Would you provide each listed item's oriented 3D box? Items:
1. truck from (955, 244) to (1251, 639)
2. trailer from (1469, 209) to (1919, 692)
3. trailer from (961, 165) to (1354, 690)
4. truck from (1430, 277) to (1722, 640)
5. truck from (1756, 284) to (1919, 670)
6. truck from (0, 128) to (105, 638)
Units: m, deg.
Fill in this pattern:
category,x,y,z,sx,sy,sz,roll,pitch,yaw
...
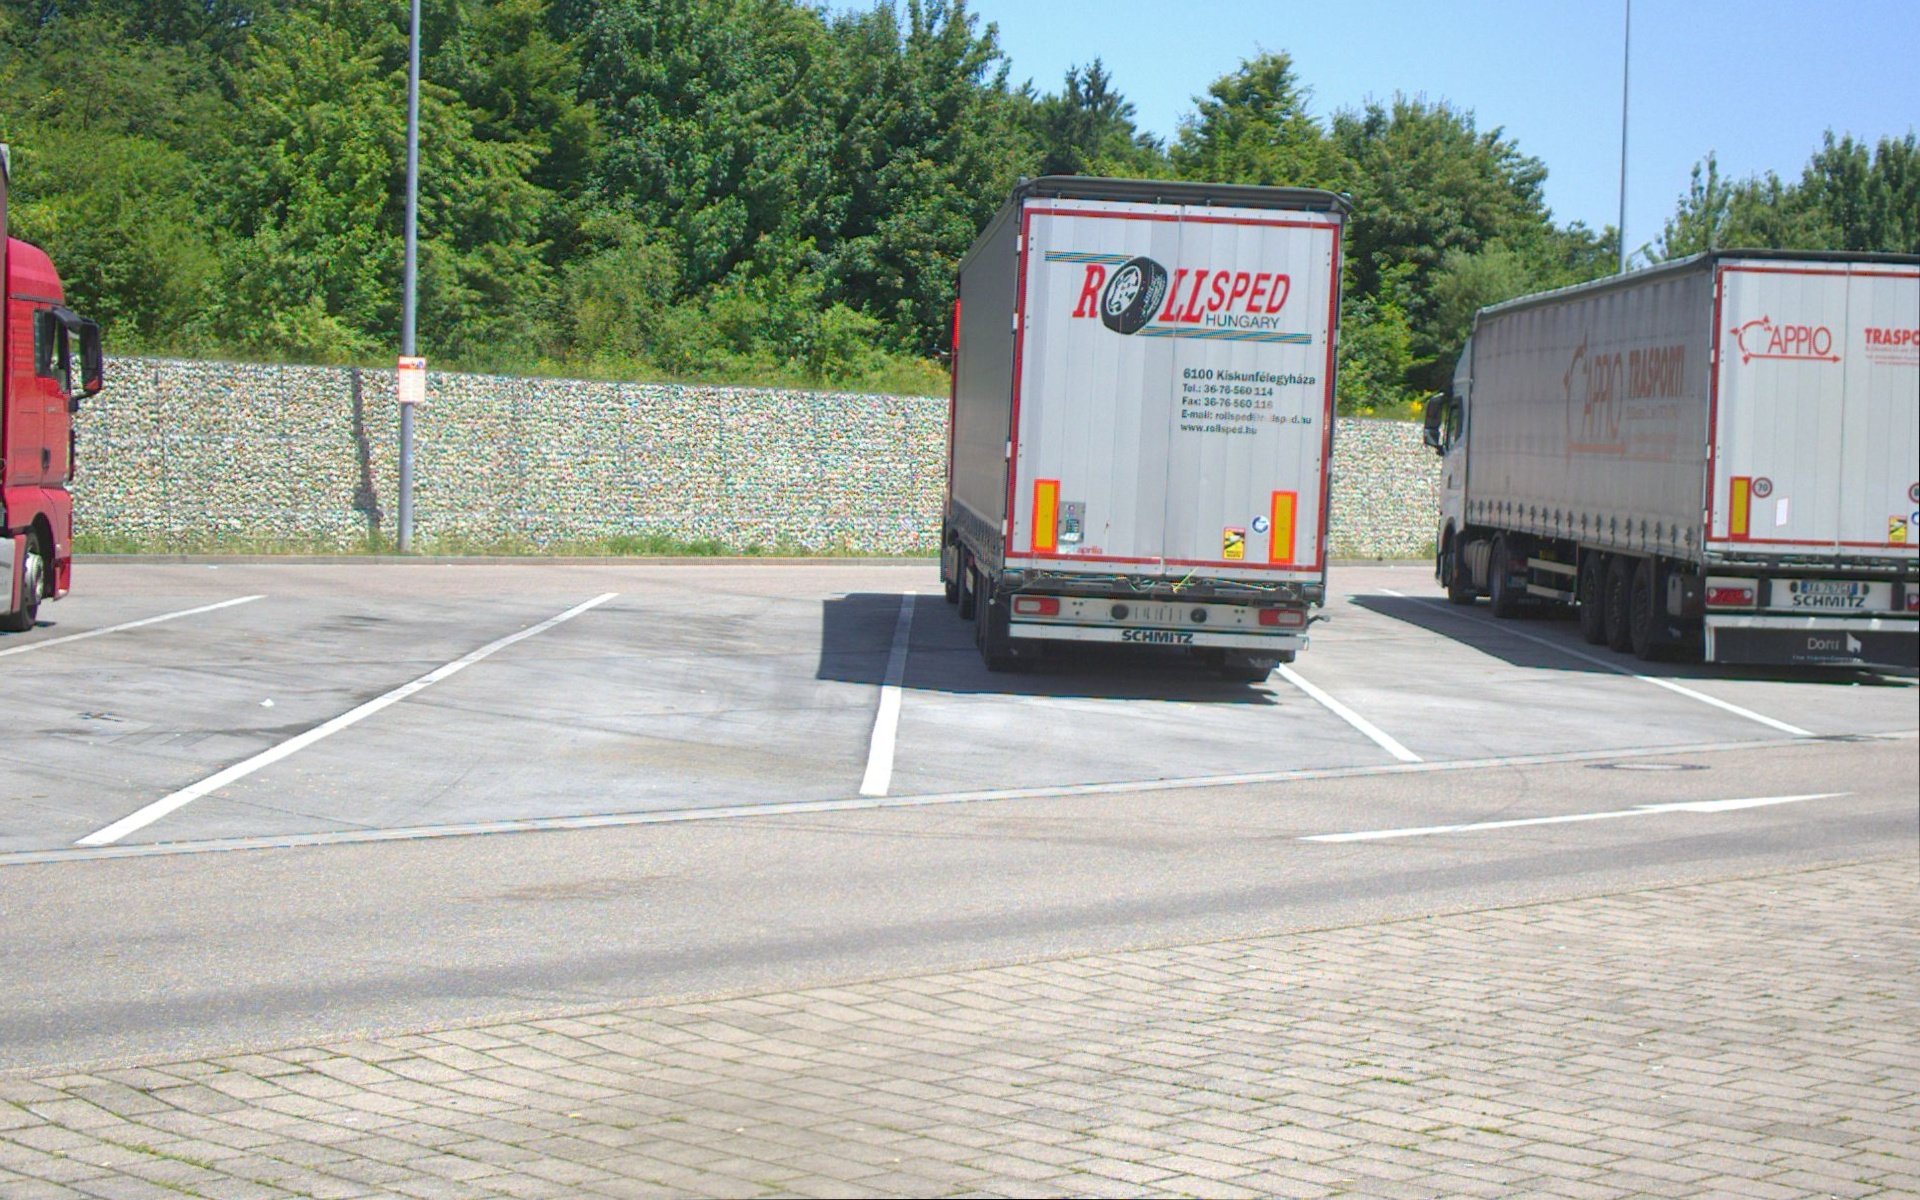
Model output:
category,x,y,z,sx,sy,sz,roll,pitch,yaw
truck,1.442,-1.698,37.805,2.871,3.967,6.030,1,2,-1
trailer,8.119,-1.583,38.216,2.681,4.437,12.831,1,2,-1
trailer,1.515,-1.504,32.048,2.897,4.000,11.318,1,2,0
truck,7.986,-1.831,45.285,2.661,4.437,5.864,1,2,-1
truck,11.737,-1.341,38.712,2.587,4.211,11.971,1,1,-1
truck,-9.169,-1.783,28.370,2.805,4.119,5.894,1,2,-1
